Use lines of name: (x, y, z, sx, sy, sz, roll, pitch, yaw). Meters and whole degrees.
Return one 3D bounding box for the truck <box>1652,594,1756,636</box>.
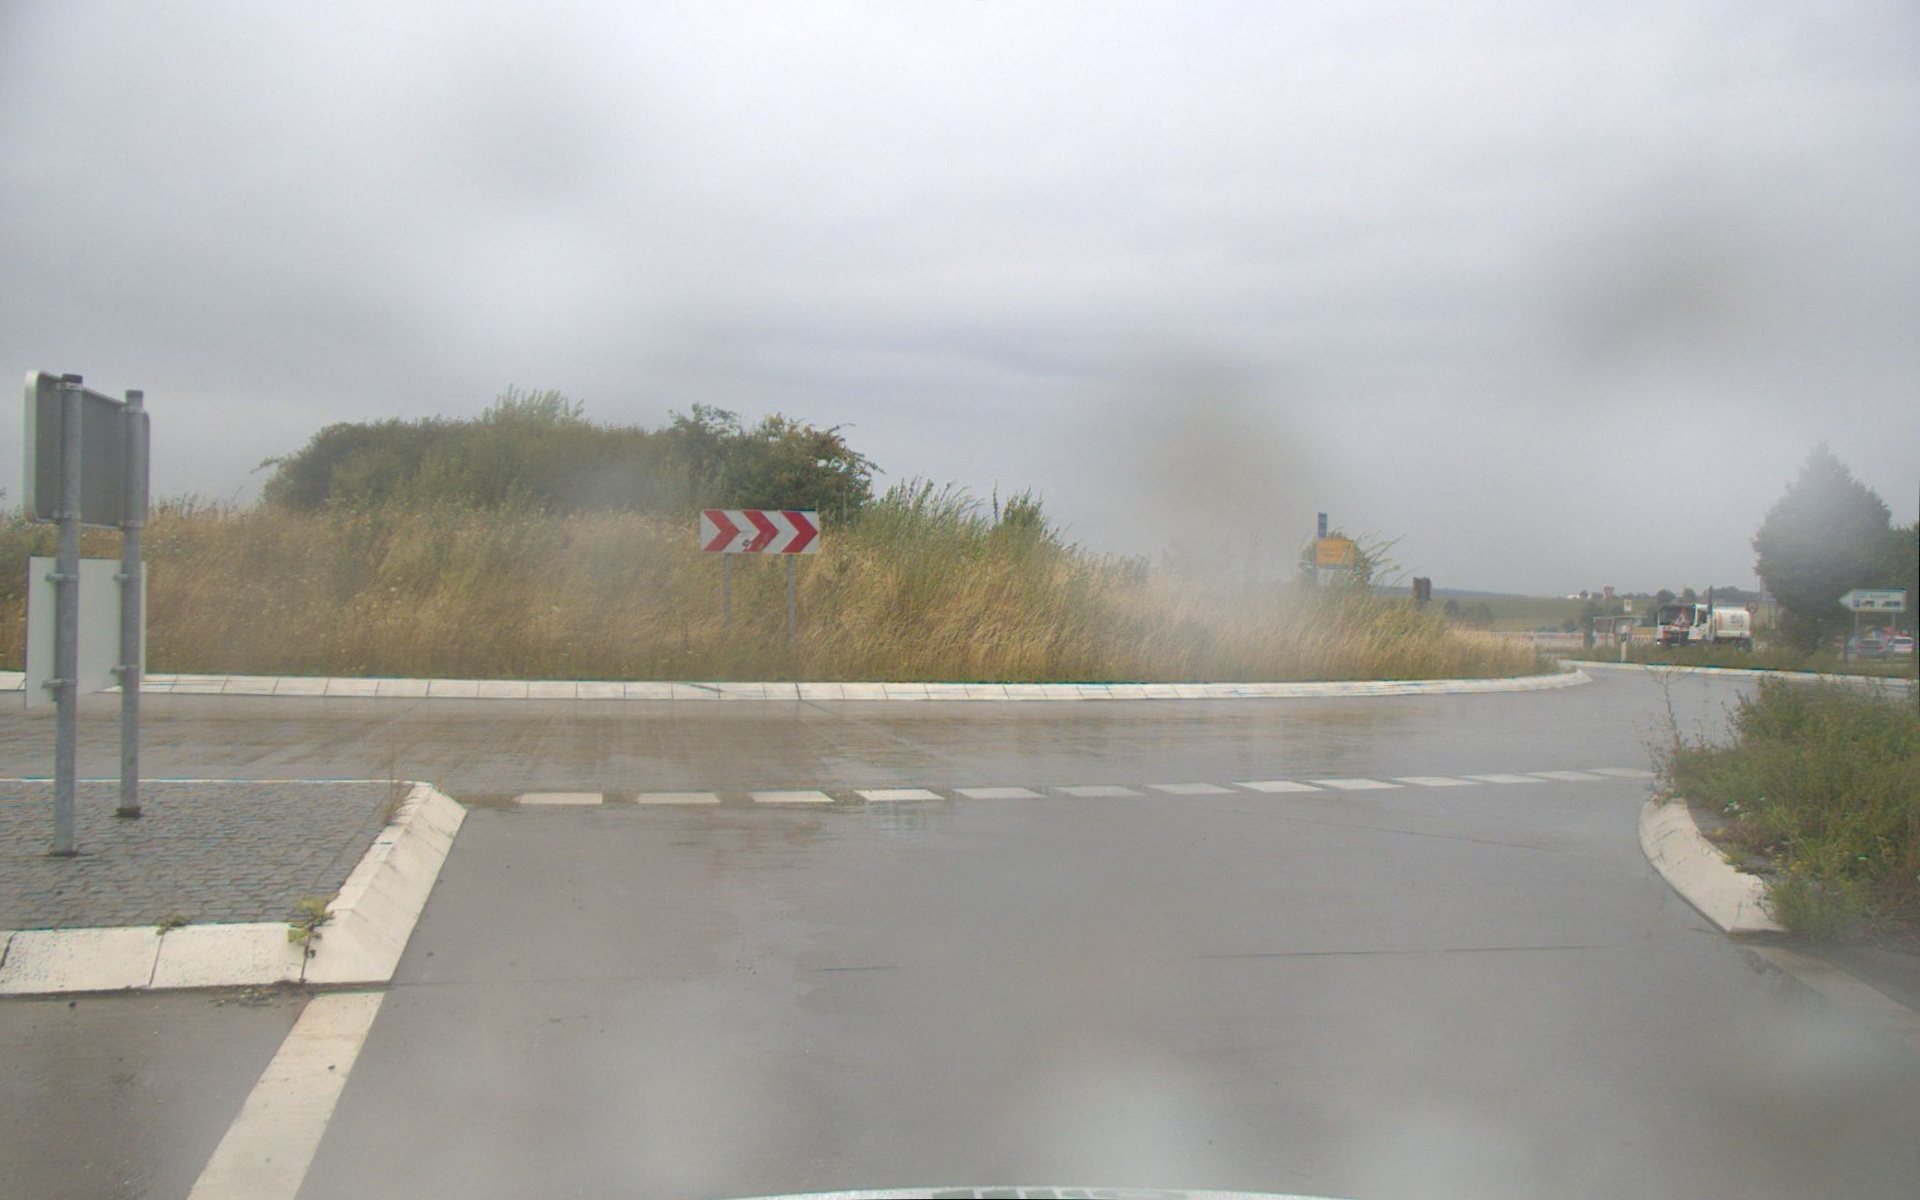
truck: (42.440, 0.861, 94.203, 8.344, 2.262, 2.479, 1, -1, -44)
